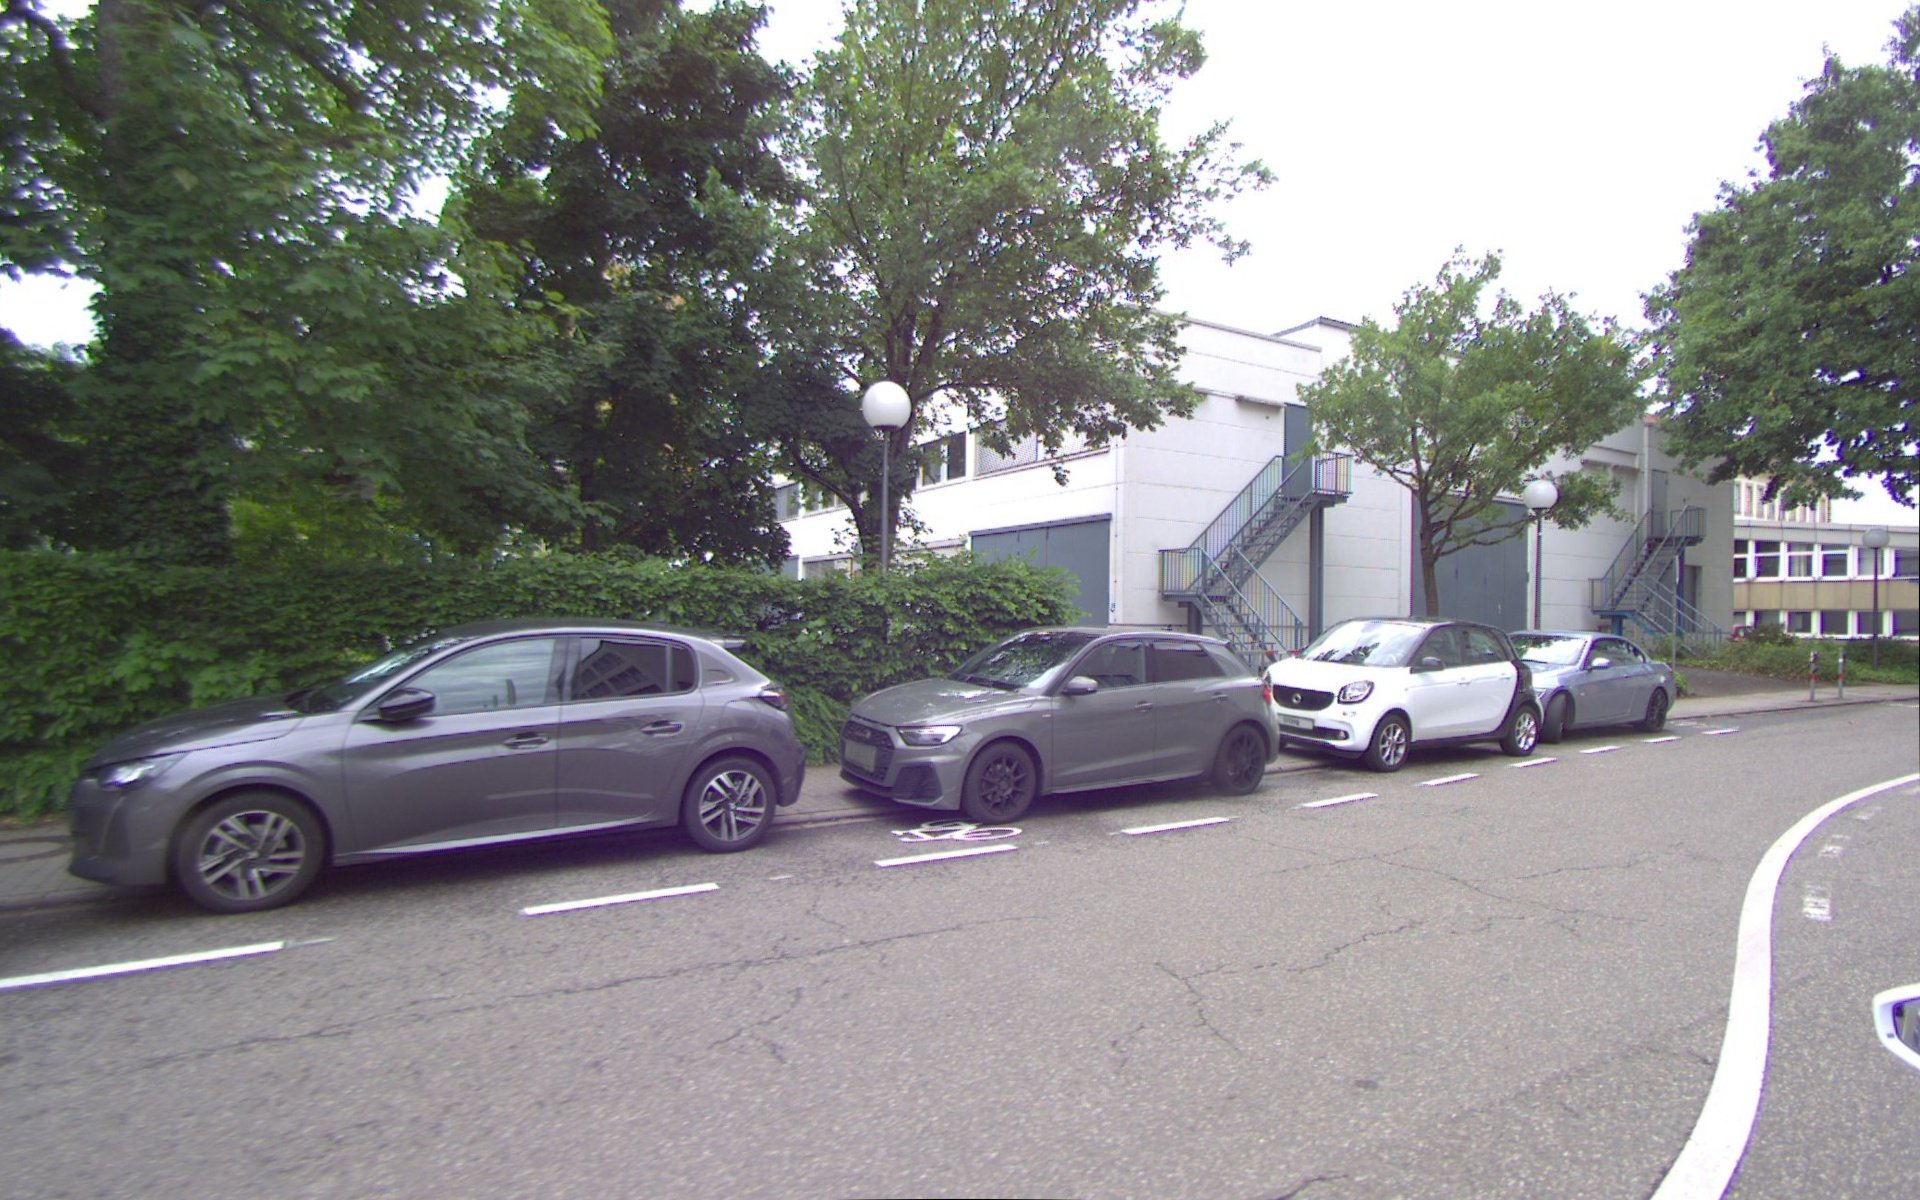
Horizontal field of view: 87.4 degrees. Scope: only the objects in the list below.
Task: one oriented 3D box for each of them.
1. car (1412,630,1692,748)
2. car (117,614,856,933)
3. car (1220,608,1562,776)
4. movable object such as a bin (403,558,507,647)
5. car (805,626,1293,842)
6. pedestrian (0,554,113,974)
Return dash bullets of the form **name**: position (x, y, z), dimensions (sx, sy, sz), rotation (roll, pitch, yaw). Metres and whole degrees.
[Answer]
- **car**: position (8.475, 1.161, 14.289), dimensions (4.150, 1.407, 1.807), rotation (1, -1, -34)
- **car**: position (-2.754, 0.872, 6.444), dimensions (3.781, 1.490, 1.753), rotation (2, -2, -31)
- **car**: position (4.946, 0.912, 11.422), dimensions (3.834, 1.607, 1.707), rotation (1, 0, -32)
- **movable object such as a bin**: position (-13.765, 0.150, 27.264), dimensions (1.979, 2.200, 4.628), rotation (1, -2, -33)
- **car**: position (0.845, 0.955, 8.641), dimensions (3.964, 1.430, 1.753), rotation (1, -1, -33)
- **pedestrian**: position (-4.273, 0.665, 4.222), dimensions (0.956, 1.683, 0.735), rotation (0, -1, -30)
